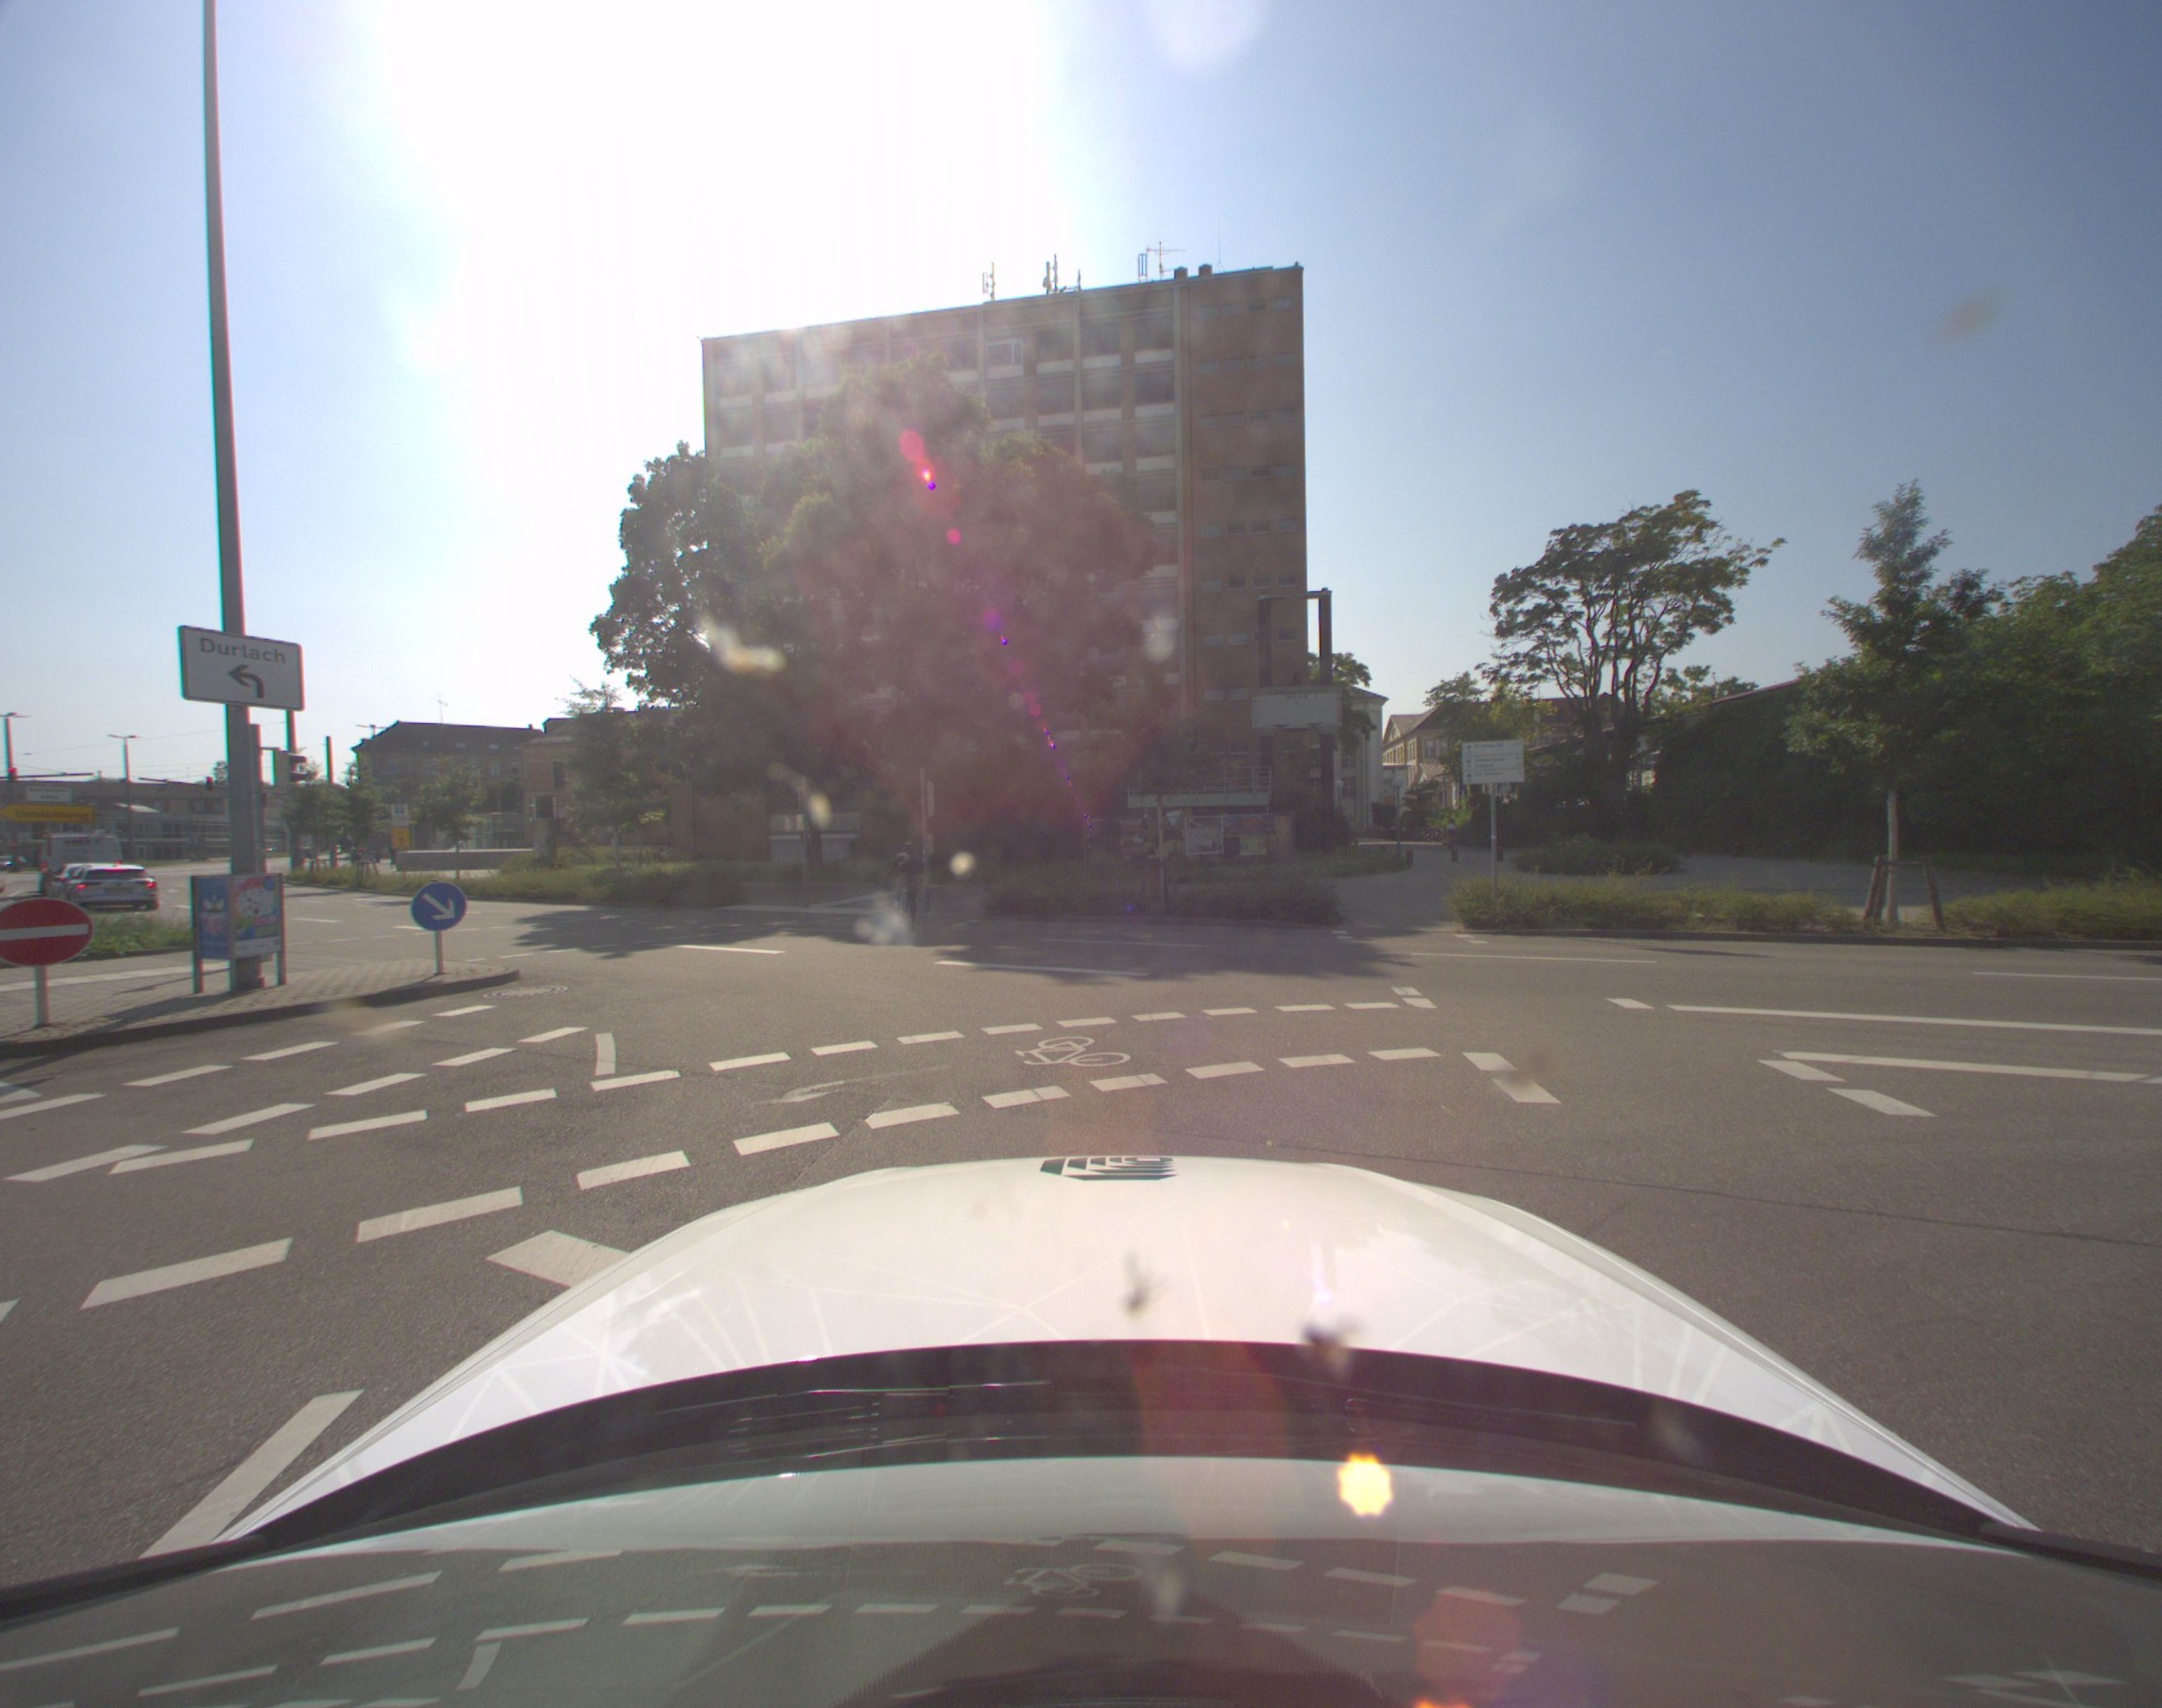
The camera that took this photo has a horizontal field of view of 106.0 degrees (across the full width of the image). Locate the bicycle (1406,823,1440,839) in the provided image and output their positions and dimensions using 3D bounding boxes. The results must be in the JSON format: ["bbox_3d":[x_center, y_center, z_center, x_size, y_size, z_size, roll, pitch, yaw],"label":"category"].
[{"bbox_3d":[26.976,-1.789,64.223,2.409,1.234,0.723,1,2,15],"label":"bicycle"}]

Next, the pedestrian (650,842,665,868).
[{"bbox_3d":[-27.081,0.051,52.034,0.527,1.628,0.620,-1,1,28],"label":"pedestrian"}]

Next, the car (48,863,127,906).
[{"bbox_3d":[-35.587,1.060,29.150,3.891,1.402,1.503,-1,1,36],"label":"car"}]

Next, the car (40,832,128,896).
[{"bbox_3d":[-42.235,0.403,34.461,4.623,2.549,2.210,-1,1,38],"label":"car"}]

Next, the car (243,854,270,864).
[{"bbox_3d":[-130.830,0.763,129.286,2.006,1.442,3.961,-2,2,-31],"label":"car"}]

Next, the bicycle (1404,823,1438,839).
[{"bbox_3d":[27.171,-1.847,65.137,2.409,1.239,0.723,1,2,15],"label":"bicycle"}]

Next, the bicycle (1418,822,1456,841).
[{"bbox_3d":[25.178,-1.603,57.622,2.409,1.318,0.723,1,2,15],"label":"bicycle"}]

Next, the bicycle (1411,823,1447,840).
[{"bbox_3d":[26.154,-1.707,61.184,2.409,1.223,0.723,1,2,15],"label":"bicycle"}]

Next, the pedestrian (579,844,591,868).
[{"bbox_3d":[-34.548,0.110,56.754,0.619,1.638,0.528,-2,1,-34],"label":"pedestrian"}]

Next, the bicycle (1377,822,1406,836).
[{"bbox_3d":[29.211,-2.370,76.647,2.409,1.280,0.723,1,2,15],"label":"bicycle"}]

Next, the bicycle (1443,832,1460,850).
[{"bbox_3d":[18.833,-0.690,41.404,0.668,0.879,1.408,-1,2,19],"label":"bicycle"}]

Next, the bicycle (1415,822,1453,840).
[{"bbox_3d":[25.463,-1.665,58.726,2.409,1.318,0.723,1,2,15],"label":"bicycle"}]

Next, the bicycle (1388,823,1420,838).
[{"bbox_3d":[27.324,-2.002,68.965,2.409,1.281,0.723,1,2,15],"label":"bicycle"}]

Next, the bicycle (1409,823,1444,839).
[{"bbox_3d":[26.470,-1.755,62.424,2.409,1.223,0.723,1,2,15],"label":"bicycle"}]

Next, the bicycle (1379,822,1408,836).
[{"bbox_3d":[29.059,-2.313,75.729,2.409,1.262,0.723,1,2,15],"label":"bicycle"}]

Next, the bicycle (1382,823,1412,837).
[{"bbox_3d":[28.505,-2.158,73.555,2.409,1.281,0.723,1,2,15],"label":"bicycle"}]

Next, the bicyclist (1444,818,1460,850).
[{"bbox_3d":[18.846,-1.040,41.401,0.644,1.601,0.924,-1,2,20],"label":"bicyclist"}]

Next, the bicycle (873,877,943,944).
[{"bbox_3d":[-3.197,0.984,14.891,0.775,0.975,2.133,-3,3,-24],"label":"bicycle"}]

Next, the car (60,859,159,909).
[{"bbox_3d":[-30.242,0.895,25.339,3.587,1.387,1.701,-1,1,36],"label":"car"}]

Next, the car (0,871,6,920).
[{"bbox_3d":[-32.520,1.210,23.337,3.912,1.368,1.718,-1,1,32],"label":"car"}]

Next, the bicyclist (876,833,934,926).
[{"bbox_3d":[-3.200,0.431,14.805,0.776,1.578,0.982,-3,2,-25],"label":"bicyclist"}]

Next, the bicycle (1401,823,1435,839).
[{"bbox_3d":[27.337,-1.875,66.104,2.409,1.228,0.723,1,2,15],"label":"bicycle"}]

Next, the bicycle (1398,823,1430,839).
[{"bbox_3d":[27.669,-1.926,67.733,2.409,1.281,0.723,1,2,15],"label":"bicycle"}]
